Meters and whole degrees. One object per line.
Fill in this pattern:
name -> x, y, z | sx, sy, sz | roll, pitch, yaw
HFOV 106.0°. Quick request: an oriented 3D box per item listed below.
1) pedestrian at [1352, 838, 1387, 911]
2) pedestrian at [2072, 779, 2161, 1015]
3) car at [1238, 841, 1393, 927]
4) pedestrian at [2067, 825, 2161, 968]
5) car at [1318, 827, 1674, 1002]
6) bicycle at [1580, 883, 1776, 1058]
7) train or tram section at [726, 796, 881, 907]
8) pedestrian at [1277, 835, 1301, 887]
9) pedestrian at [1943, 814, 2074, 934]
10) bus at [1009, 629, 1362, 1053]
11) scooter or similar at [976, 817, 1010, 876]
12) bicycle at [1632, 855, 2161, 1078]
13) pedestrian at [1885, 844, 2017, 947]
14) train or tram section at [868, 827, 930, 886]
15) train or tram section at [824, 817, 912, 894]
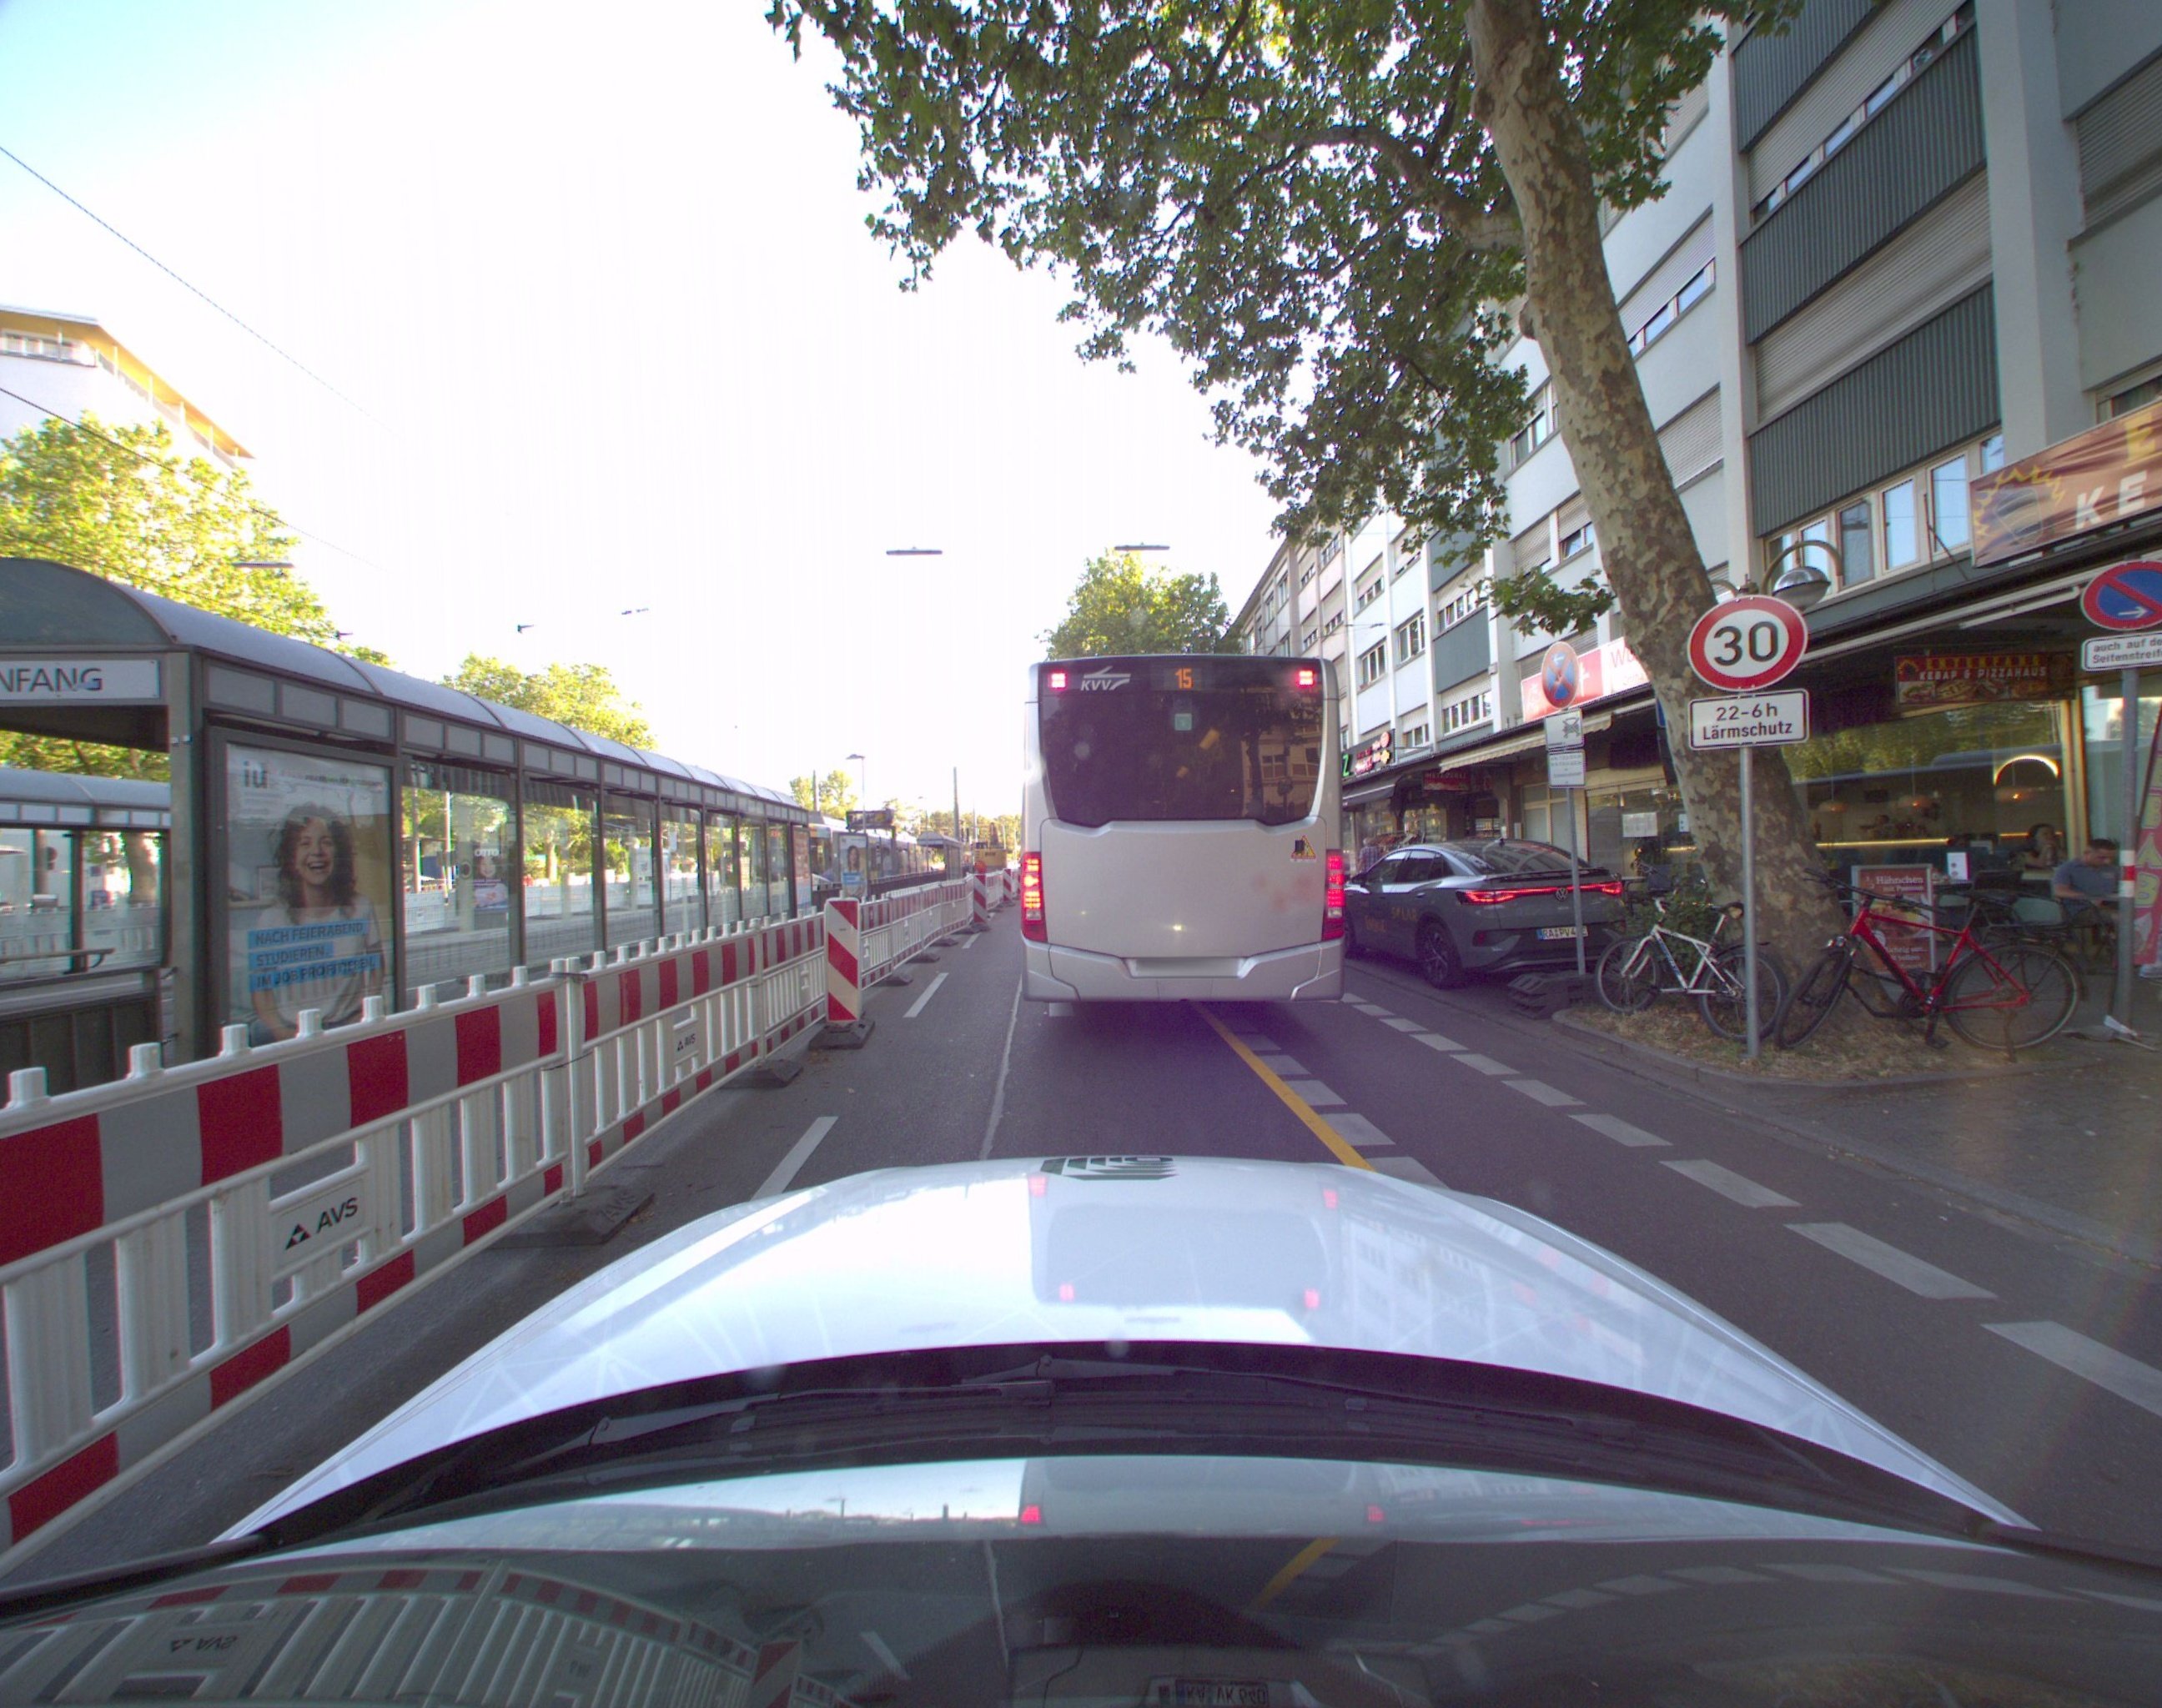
pedestrian -> 6.769, 0.473, 19.142 | 0.658, 1.666, 0.603 | -4, -1, 18
pedestrian -> 7.809, 0.290, 5.748 | 0.580, 1.646, 0.796 | -2, -1, 0
car -> 5.128, 0.600, 18.481 | 1.989, 1.582, 4.364 | -4, 0, -3
pedestrian -> 9.818, 0.367, 7.513 | 0.555, 1.245, 0.692 | -4, 0, 8
car -> 4.733, 0.585, 10.189 | 1.989, 1.582, 4.364 | -4, 0, -3
bicycle -> 4.575, 0.835, 6.367 | 0.550, 1.155, 1.446 | -2, -1, 6
train or tram section -> -10.318, -0.048, 31.912 | 2.681, 3.534, 11.756 | 0, -1, -3
pedestrian -> 8.212, 0.279, 32.146 | 0.683, 2.014, 0.786 | -2, -1, 1
pedestrian -> 11.027, 0.228, 9.689 | 0.836, 1.333, 0.963 | -2, -1, -39
bus -> 0.895, -0.075, 10.018 | 2.601, 3.126, 7.996 | 0, 0, 2
scooter or similar -> -7.020, -0.549, 65.175 | 2.465, 4.471, 5.961 | -2, 0, -5
bicycle -> 5.060, 0.721, 5.226 | 2.370, 1.155, 0.557 | -7, -2, 14
pedestrian -> 9.859, 0.452, 9.240 | 0.643, 1.081, 0.945 | -2, -1, -39
train or tram section -> -12.085, 0.186, 55.004 | 2.683, 3.533, 11.558 | 0, -1, -6
train or tram section -> -11.063, 0.095, 43.522 | 2.682, 3.558, 11.559 | 0, -1, -5
